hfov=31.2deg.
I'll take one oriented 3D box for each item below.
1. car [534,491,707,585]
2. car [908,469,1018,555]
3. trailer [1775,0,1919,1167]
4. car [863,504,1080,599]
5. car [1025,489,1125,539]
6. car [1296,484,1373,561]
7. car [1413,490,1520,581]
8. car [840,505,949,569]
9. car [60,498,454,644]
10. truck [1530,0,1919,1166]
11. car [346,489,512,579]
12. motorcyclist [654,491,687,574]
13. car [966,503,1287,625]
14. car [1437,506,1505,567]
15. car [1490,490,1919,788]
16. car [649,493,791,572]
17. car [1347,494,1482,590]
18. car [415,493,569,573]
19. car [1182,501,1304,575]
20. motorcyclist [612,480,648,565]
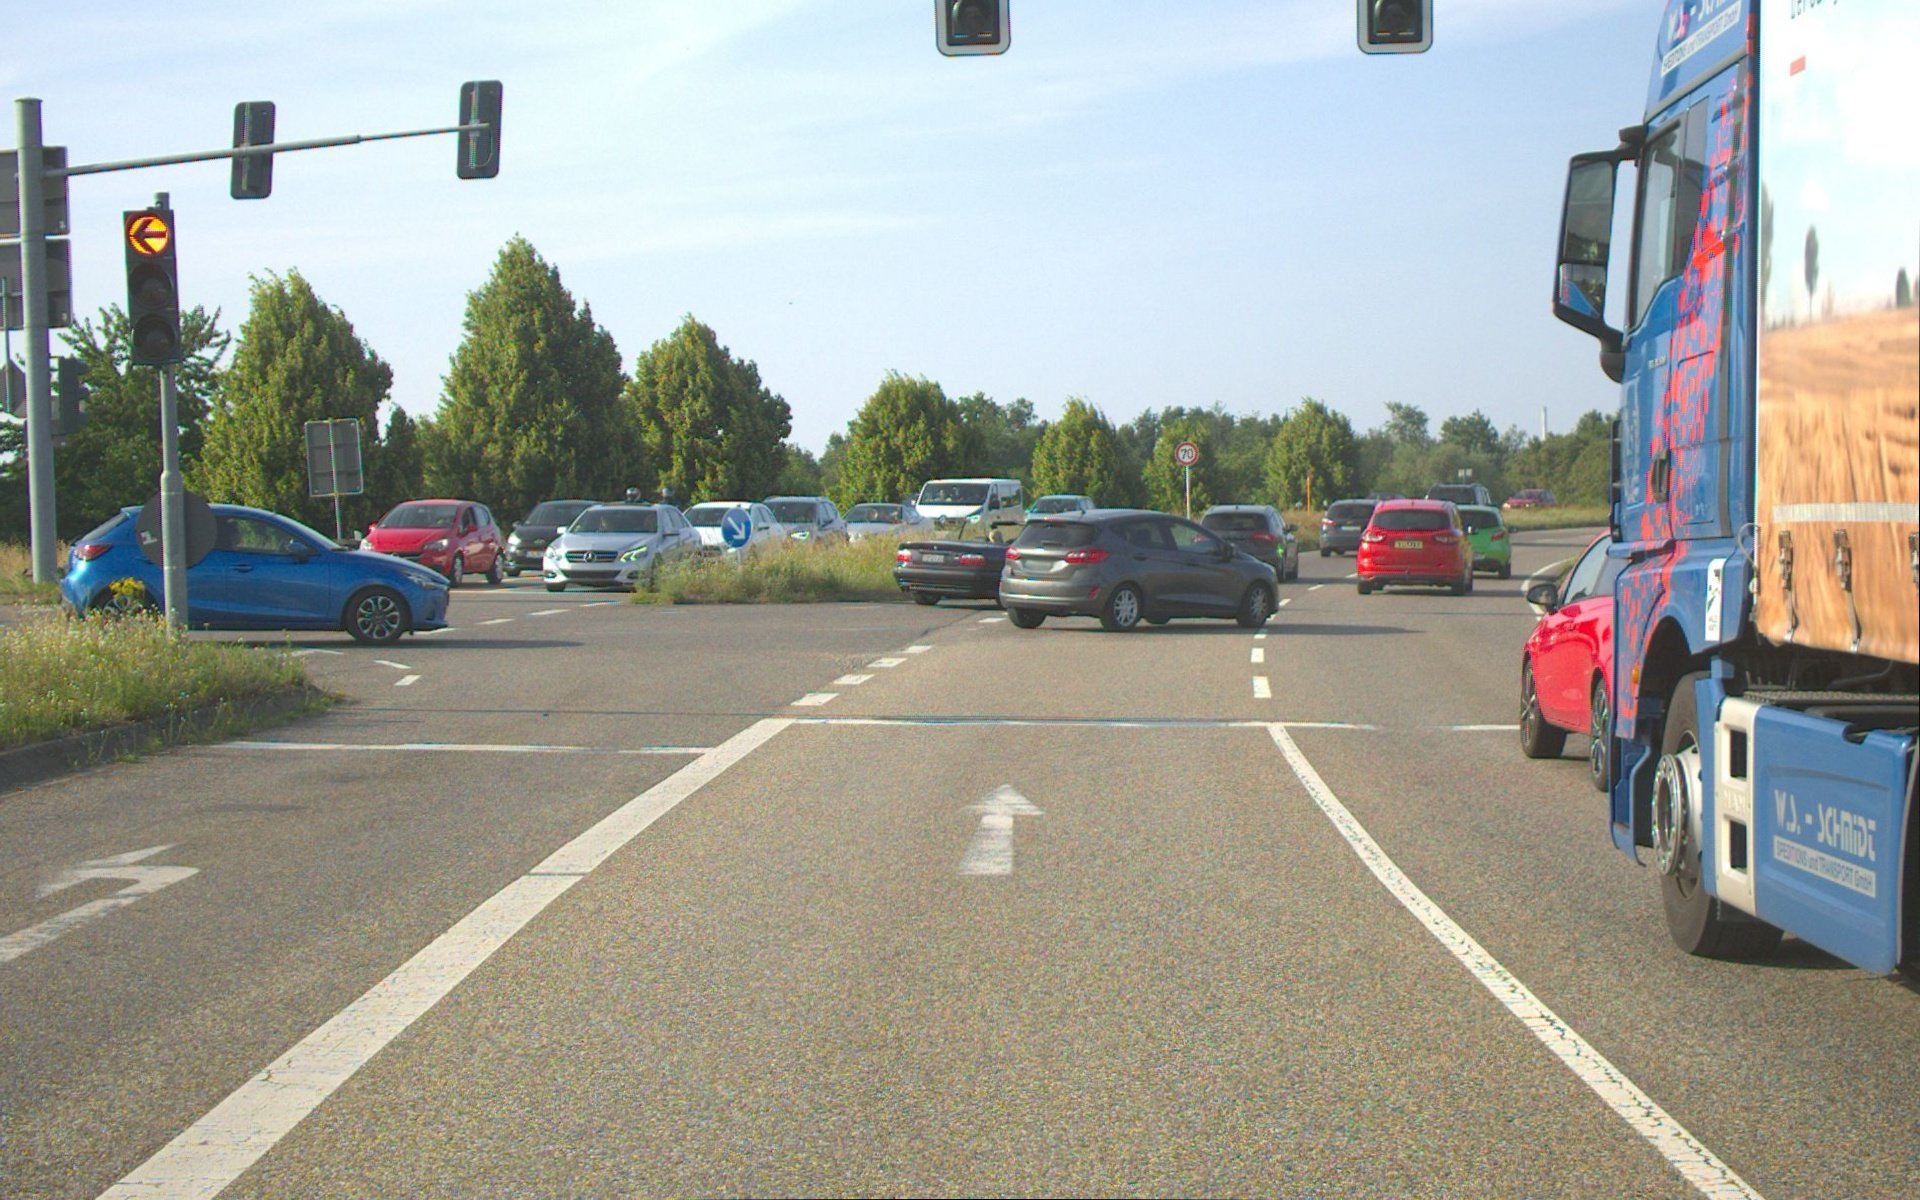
[{"bbox_3d":[-5.597,-1.049,57.161,1.786,1.483,4.650,-1,2,8],"label":"car"},{"bbox_3d":[0.101,-2.217,86.401,1.926,2.071,4.241,0,2,12],"label":"car"},{"bbox_3d":[3.990,-0.837,3.110,3.281,4.665,13.148,0,1,0],"label":"trailer"},{"bbox_3d":[0.225,-0.695,50.051,1.910,1.318,4.274,0,0,19],"label":"car"},{"bbox_3d":[3.289,-2.452,97.462,1.787,1.381,4.048,0,2,18],"label":"car"},{"bbox_3d":[9.651,-1.972,88.693,1.909,1.909,4.277,0,0,6],"label":"car"},{"bbox_3d":[10.339,-1.282,69.950,1.910,1.794,4.276,0,0,12],"label":"car"},{"bbox_3d":[-1.436,-1.435,76.996,1.786,1.381,4.050,-1,2,8],"label":"car"},{"bbox_3d":[-7.394,-0.334,36.330,3.971,1.487,1.779,0,2,-11],"label":"car"},{"bbox_3d":[3.919,-1.033,10.663,3.300,4.641,5.732,0,1,0],"label":"truck"},{"bbox_3d":[-9.125,-1.159,59.363,1.721,1.483,3.803,-1,2,9],"label":"car"},{"bbox_3d":[-6.438,-1.502,76.420,0.662,1.810,0.605,-1,1,1],"label":"motorcyclist"},{"bbox_3d":[2.065,-0.431,41.978,1.919,1.411,3.786,1,0,43],"label":"car"},{"bbox_3d":[15.038,-1.845,101.045,1.909,1.728,4.276,0,0,9],"label":"car"},{"bbox_3d":[4.200,0.156,19.867,1.696,1.544,3.750,-1,1,0],"label":"car"},{"bbox_3d":[-4.485,-1.289,64.838,1.786,1.428,4.308,-1,2,8],"label":"car"},{"bbox_3d":[7.771,-0.968,58.533,1.896,1.559,4.275,0,0,13],"label":"car"},{"bbox_3d":[-8.691,-1.260,64.199,1.786,1.428,4.050,-1,2,8],"label":"car"},{"bbox_3d":[5.438,-1.161,65.578,1.837,1.372,4.276,0,0,11],"label":"car"},{"bbox_3d":[-6.858,-1.612,71.519,0.662,1.741,0.605,-1,1,1],"label":"motorcyclist"}]
